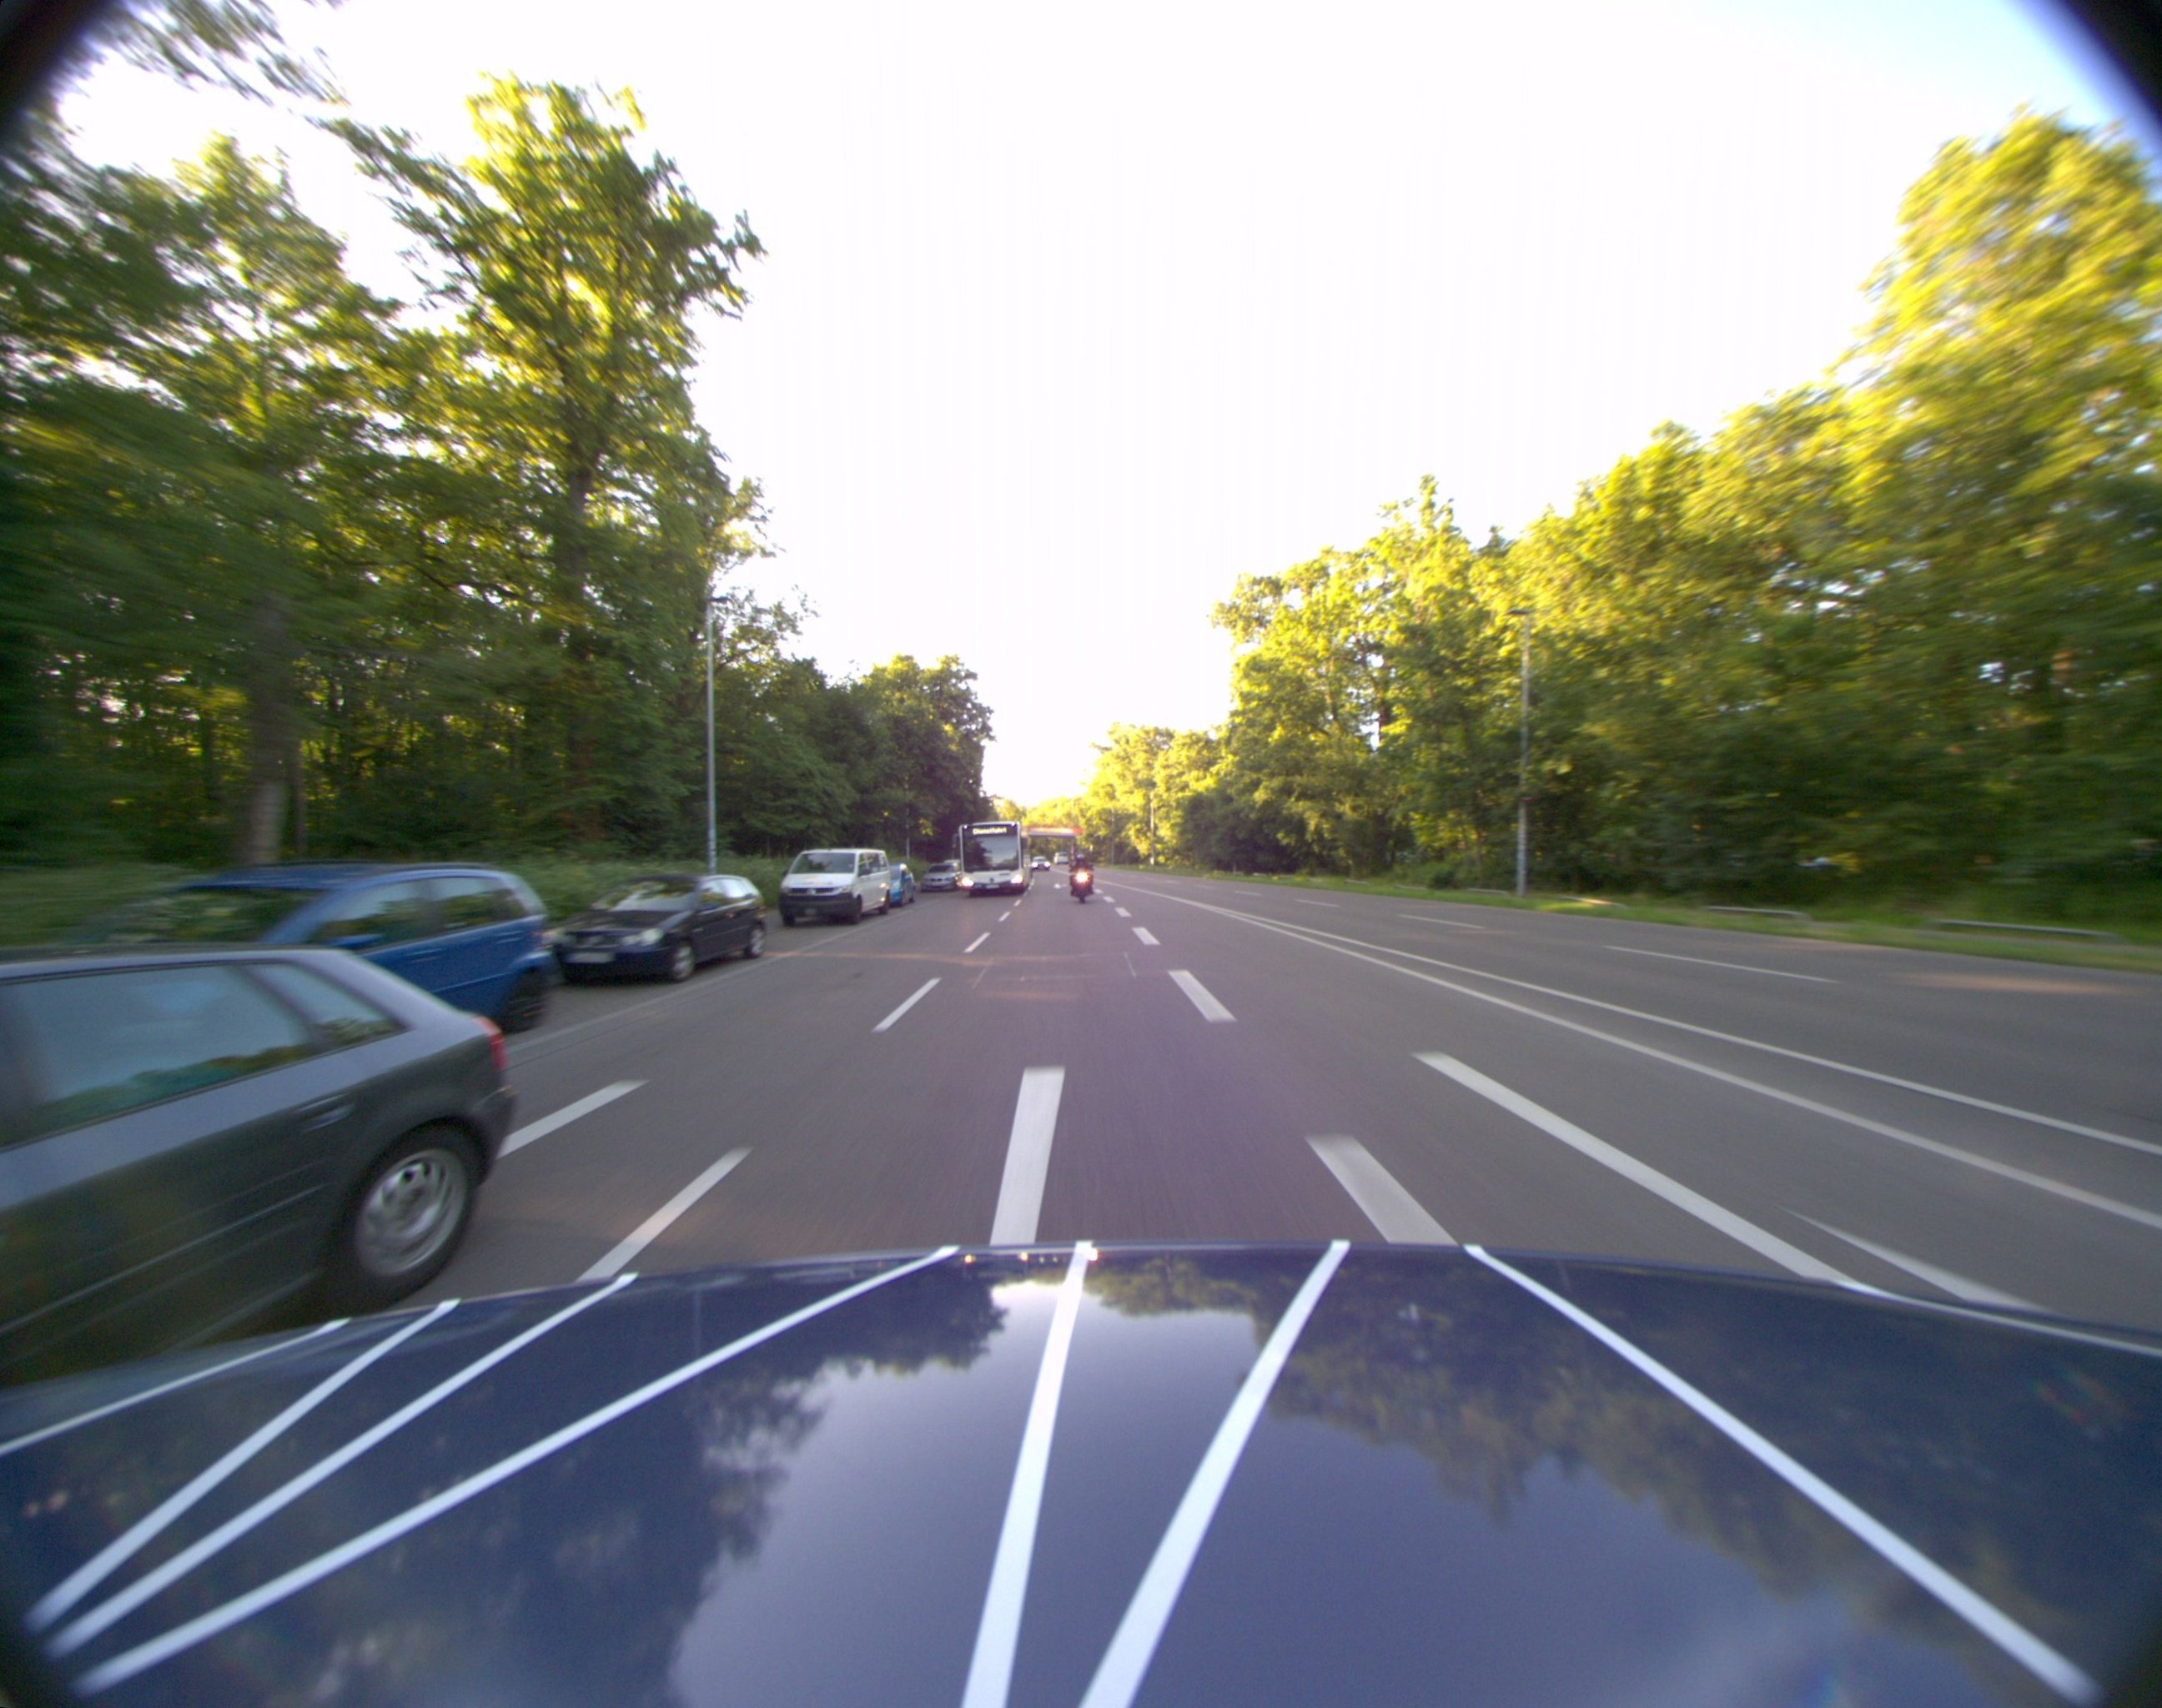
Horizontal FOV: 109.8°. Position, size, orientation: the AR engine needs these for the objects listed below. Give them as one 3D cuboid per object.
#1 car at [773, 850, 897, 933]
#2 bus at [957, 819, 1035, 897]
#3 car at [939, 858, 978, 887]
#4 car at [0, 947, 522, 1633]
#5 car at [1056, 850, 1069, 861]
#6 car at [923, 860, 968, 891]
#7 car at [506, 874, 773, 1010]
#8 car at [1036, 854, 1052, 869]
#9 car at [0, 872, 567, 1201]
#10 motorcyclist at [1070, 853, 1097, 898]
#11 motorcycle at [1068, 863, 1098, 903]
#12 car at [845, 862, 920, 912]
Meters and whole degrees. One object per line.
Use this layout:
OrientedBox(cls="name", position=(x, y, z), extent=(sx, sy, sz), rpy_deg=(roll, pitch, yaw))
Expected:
OrientedBox(cls="car", position=(-6.555, 0.881, 20.921), extent=(1.819, 1.910, 5.265), rpy_deg=(-2, 1, -2))
OrientedBox(cls="bus", position=(-3.743, 0.170, 36.599), extent=(2.813, 3.030, 12.882), rpy_deg=(-2, 0, -3))
OrientedBox(cls="car", position=(-6.992, 1.045, 43.614), extent=(1.595, 1.479, 3.829), rpy_deg=(-2, 1, 0))
OrientedBox(cls="car", position=(-3.307, 1.118, 1.313), extent=(1.679, 1.351, 3.994), rpy_deg=(-2, 0, 0))
OrientedBox(cls="car", position=(-3.096, 0.219, 126.907), extent=(1.844, 1.682, 4.650), rpy_deg=(-2, 0, -6))
OrientedBox(cls="car", position=(-6.832, 1.070, 38.729), extent=(1.595, 1.375, 3.829), rpy_deg=(-2, 1, 0))
OrientedBox(cls="car", position=(-6.249, 1.142, 11.354), extent=(1.819, 1.470, 3.828), rpy_deg=(-2, 1, -3))
OrientedBox(cls="car", position=(-3.956, 0.761, 81.692), extent=(1.679, 1.552, 3.993), rpy_deg=(-2, 0, -2))
OrientedBox(cls="car", position=(-6.229, 1.025, 5.946), extent=(1.819, 1.624, 3.828), rpy_deg=(0, 1, -1))
OrientedBox(cls="motorcyclist", position=(0.084, 0.719, 25.730), extent=(0.830, 1.484, 1.024), rpy_deg=(-2, 1, 3))
OrientedBox(cls="motorcycle", position=(0.086, 0.953, 25.738), extent=(0.830, 1.211, 2.604), rpy_deg=(-2, 0, 3))
OrientedBox(cls="car", position=(-6.958, 1.101, 27.055), extent=(1.819, 1.501, 3.828), rpy_deg=(-2, 1, -4))
